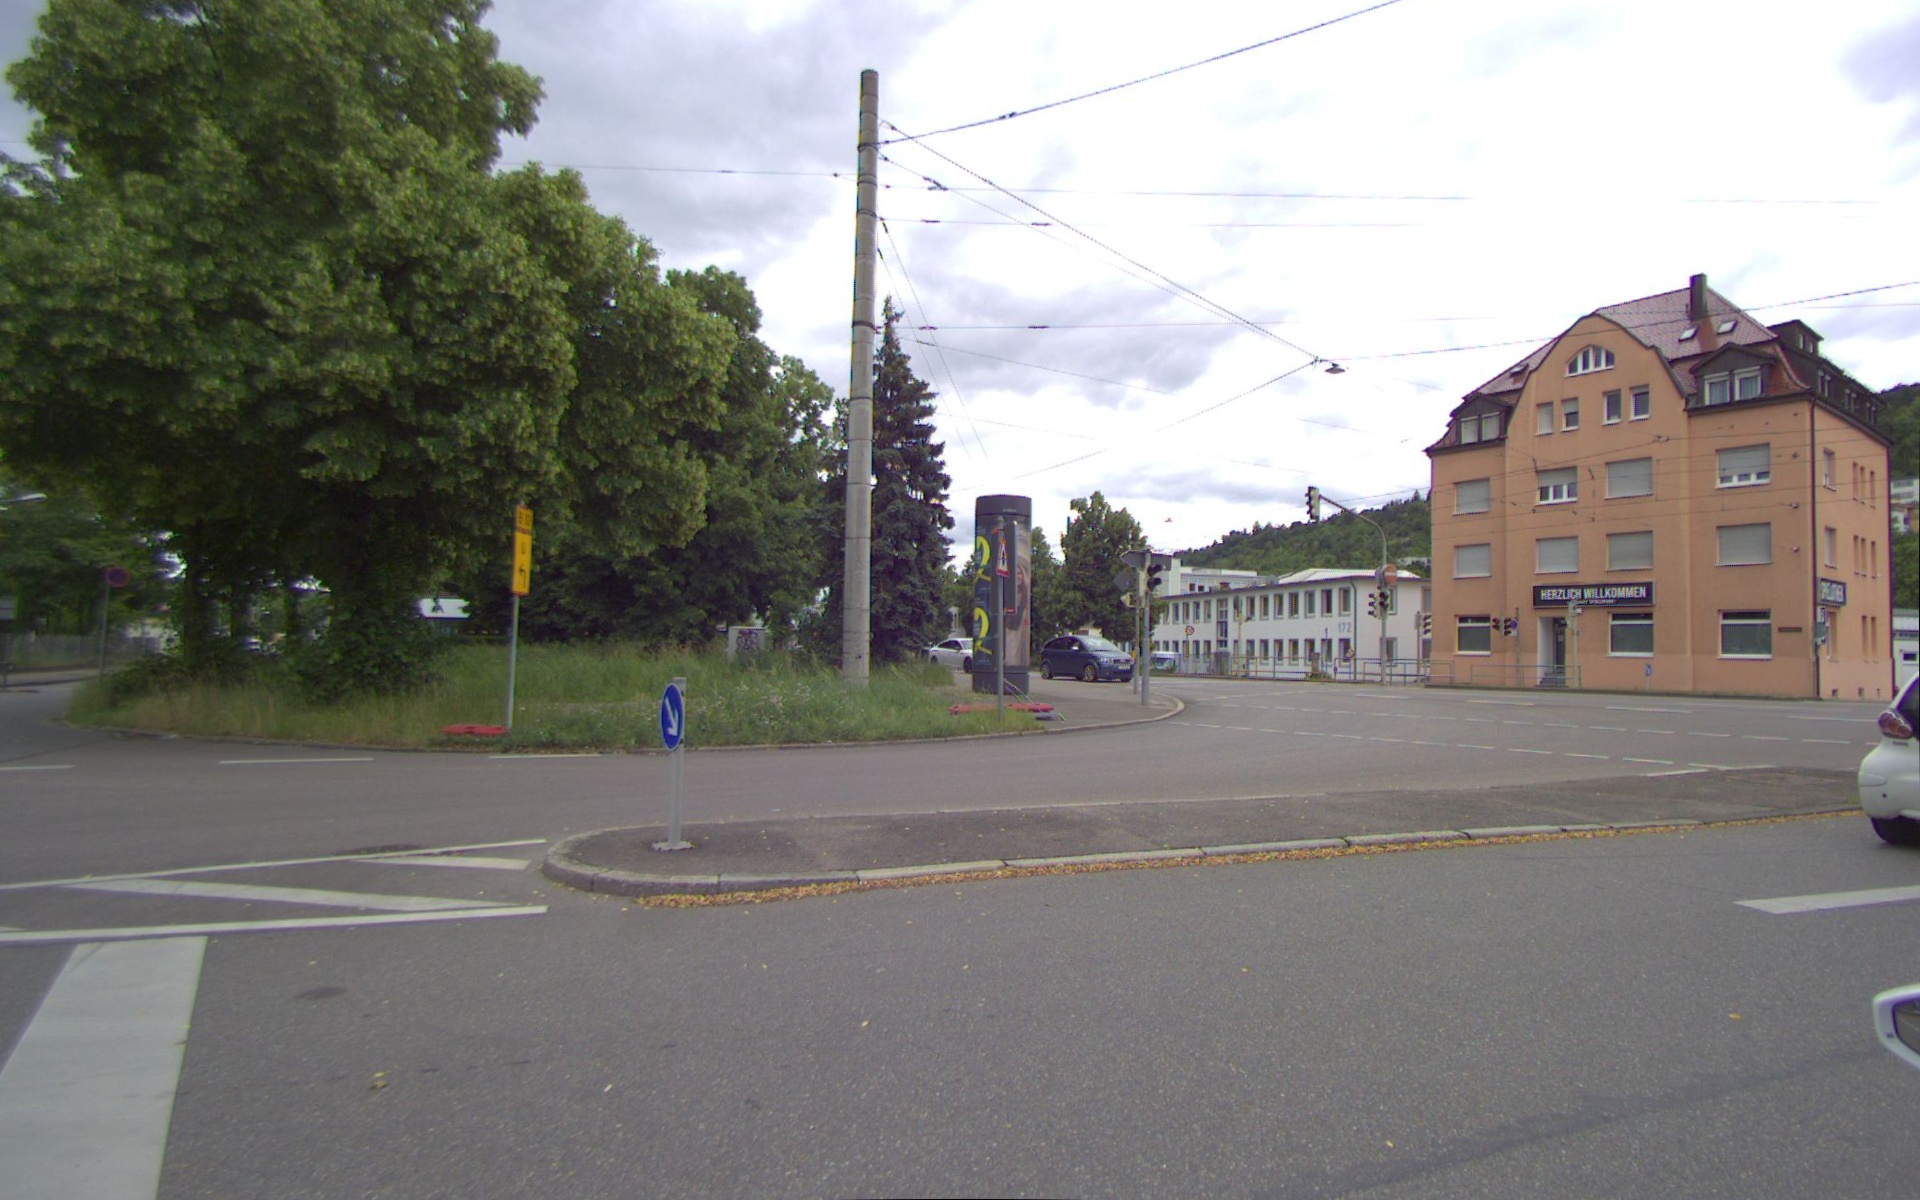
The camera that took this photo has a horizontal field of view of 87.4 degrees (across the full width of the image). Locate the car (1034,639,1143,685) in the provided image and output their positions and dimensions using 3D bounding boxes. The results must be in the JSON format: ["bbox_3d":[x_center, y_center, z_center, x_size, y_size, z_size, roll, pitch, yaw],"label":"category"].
[{"bbox_3d":[4.186,2.016,33.206,1.729,1.410,3.674,2,-3,-30],"label":"car"}]

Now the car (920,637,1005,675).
[{"bbox_3d":[0.038,2.244,40.581,1.727,1.445,4.136,1,-3,-28],"label":"car"}]

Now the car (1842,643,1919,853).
[{"bbox_3d":[8.285,1.027,7.120,3.322,1.438,1.592,1,-4,-19],"label":"car"}]

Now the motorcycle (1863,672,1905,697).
[{"bbox_3d":[43.690,3.991,47.517,0.518,0.997,1.710,3,0,7],"label":"motorcycle"}]
